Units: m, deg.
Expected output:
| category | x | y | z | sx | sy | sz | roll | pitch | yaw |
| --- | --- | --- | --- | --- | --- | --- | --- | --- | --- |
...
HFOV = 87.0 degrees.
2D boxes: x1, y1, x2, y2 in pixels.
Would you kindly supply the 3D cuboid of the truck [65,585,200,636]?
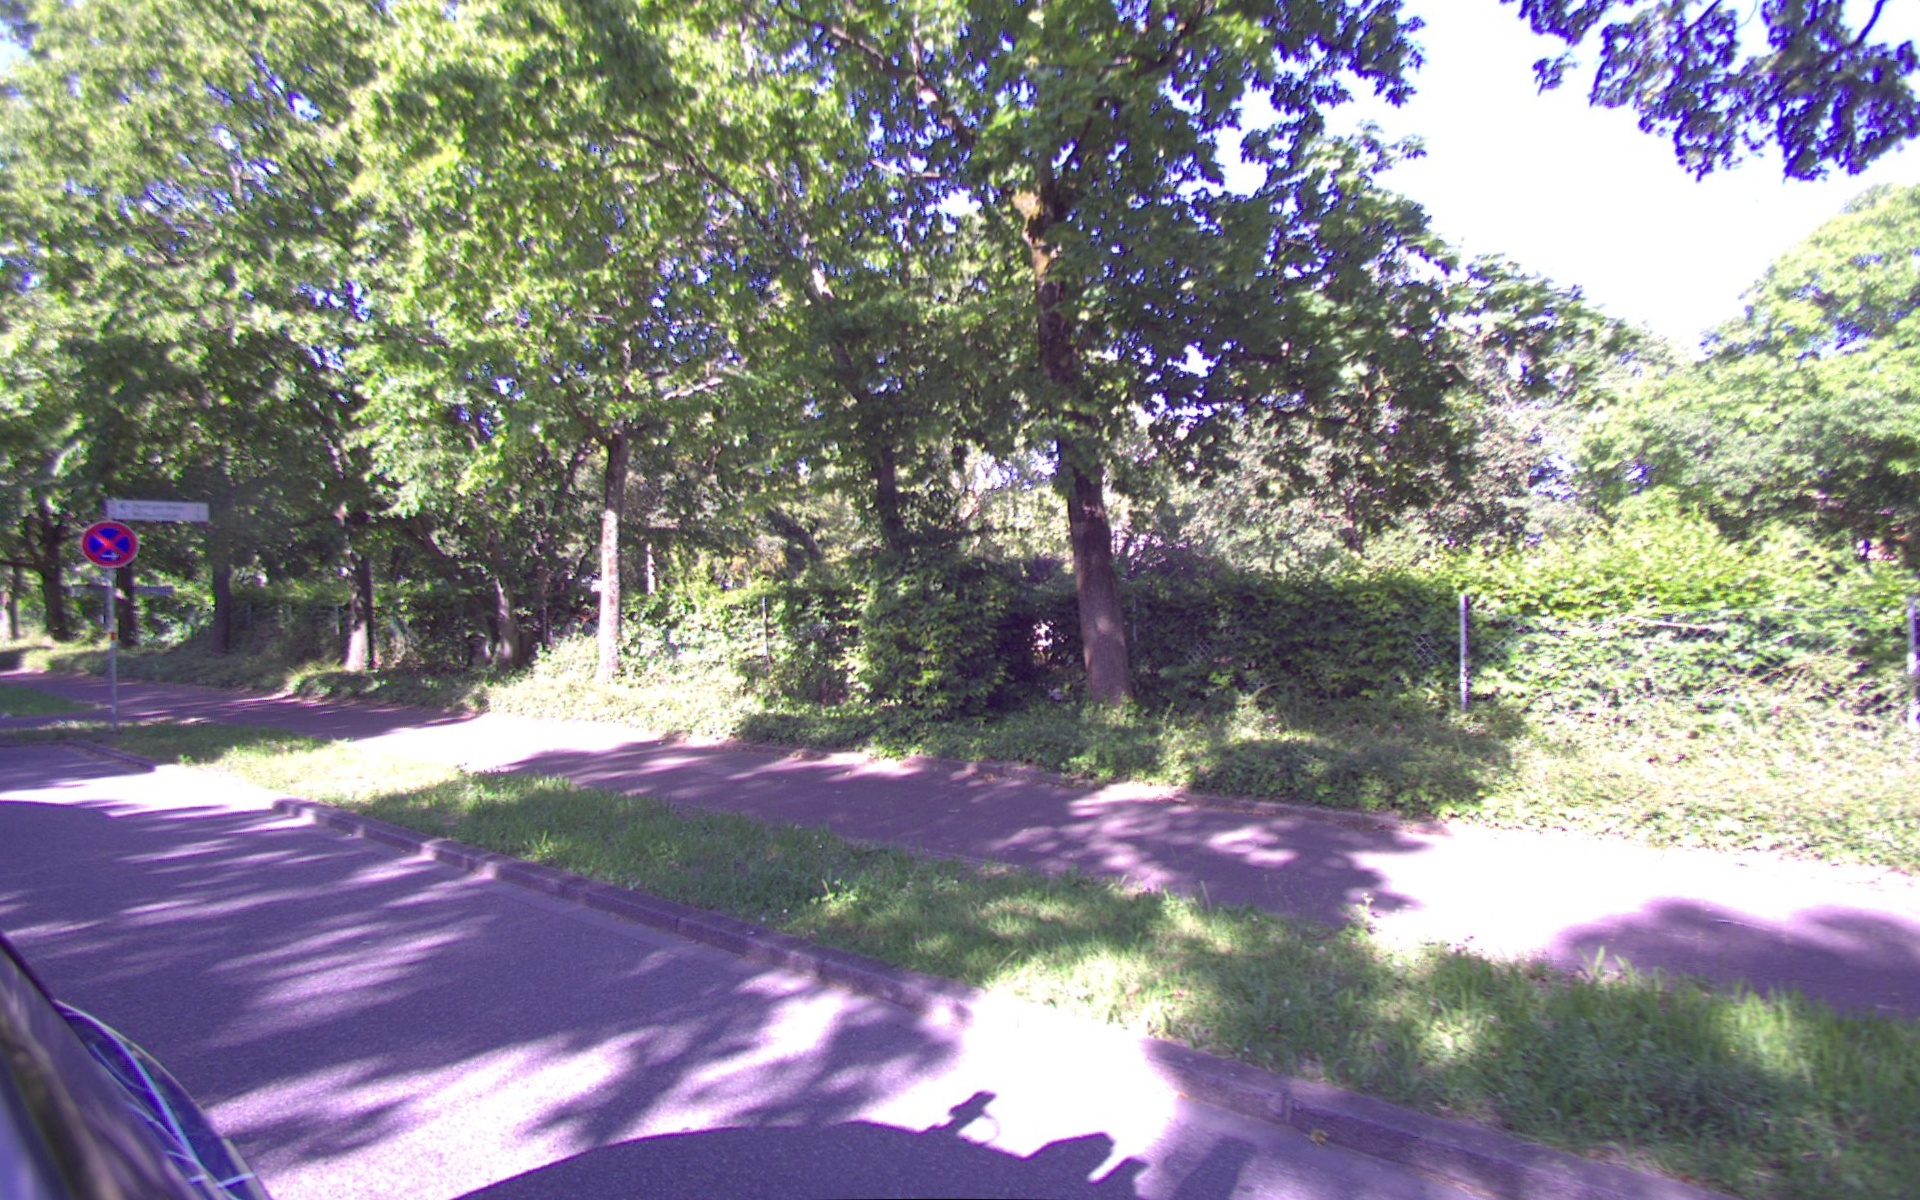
| category | x | y | z | sx | sy | sz | roll | pitch | yaw |
| --- | --- | --- | --- | --- | --- | --- | --- | --- | --- |
| truck | -34.786 | 0.505 | 42.606 | 2.199 | 2.029 | 3.952 | -2 | -2 | 35 |
